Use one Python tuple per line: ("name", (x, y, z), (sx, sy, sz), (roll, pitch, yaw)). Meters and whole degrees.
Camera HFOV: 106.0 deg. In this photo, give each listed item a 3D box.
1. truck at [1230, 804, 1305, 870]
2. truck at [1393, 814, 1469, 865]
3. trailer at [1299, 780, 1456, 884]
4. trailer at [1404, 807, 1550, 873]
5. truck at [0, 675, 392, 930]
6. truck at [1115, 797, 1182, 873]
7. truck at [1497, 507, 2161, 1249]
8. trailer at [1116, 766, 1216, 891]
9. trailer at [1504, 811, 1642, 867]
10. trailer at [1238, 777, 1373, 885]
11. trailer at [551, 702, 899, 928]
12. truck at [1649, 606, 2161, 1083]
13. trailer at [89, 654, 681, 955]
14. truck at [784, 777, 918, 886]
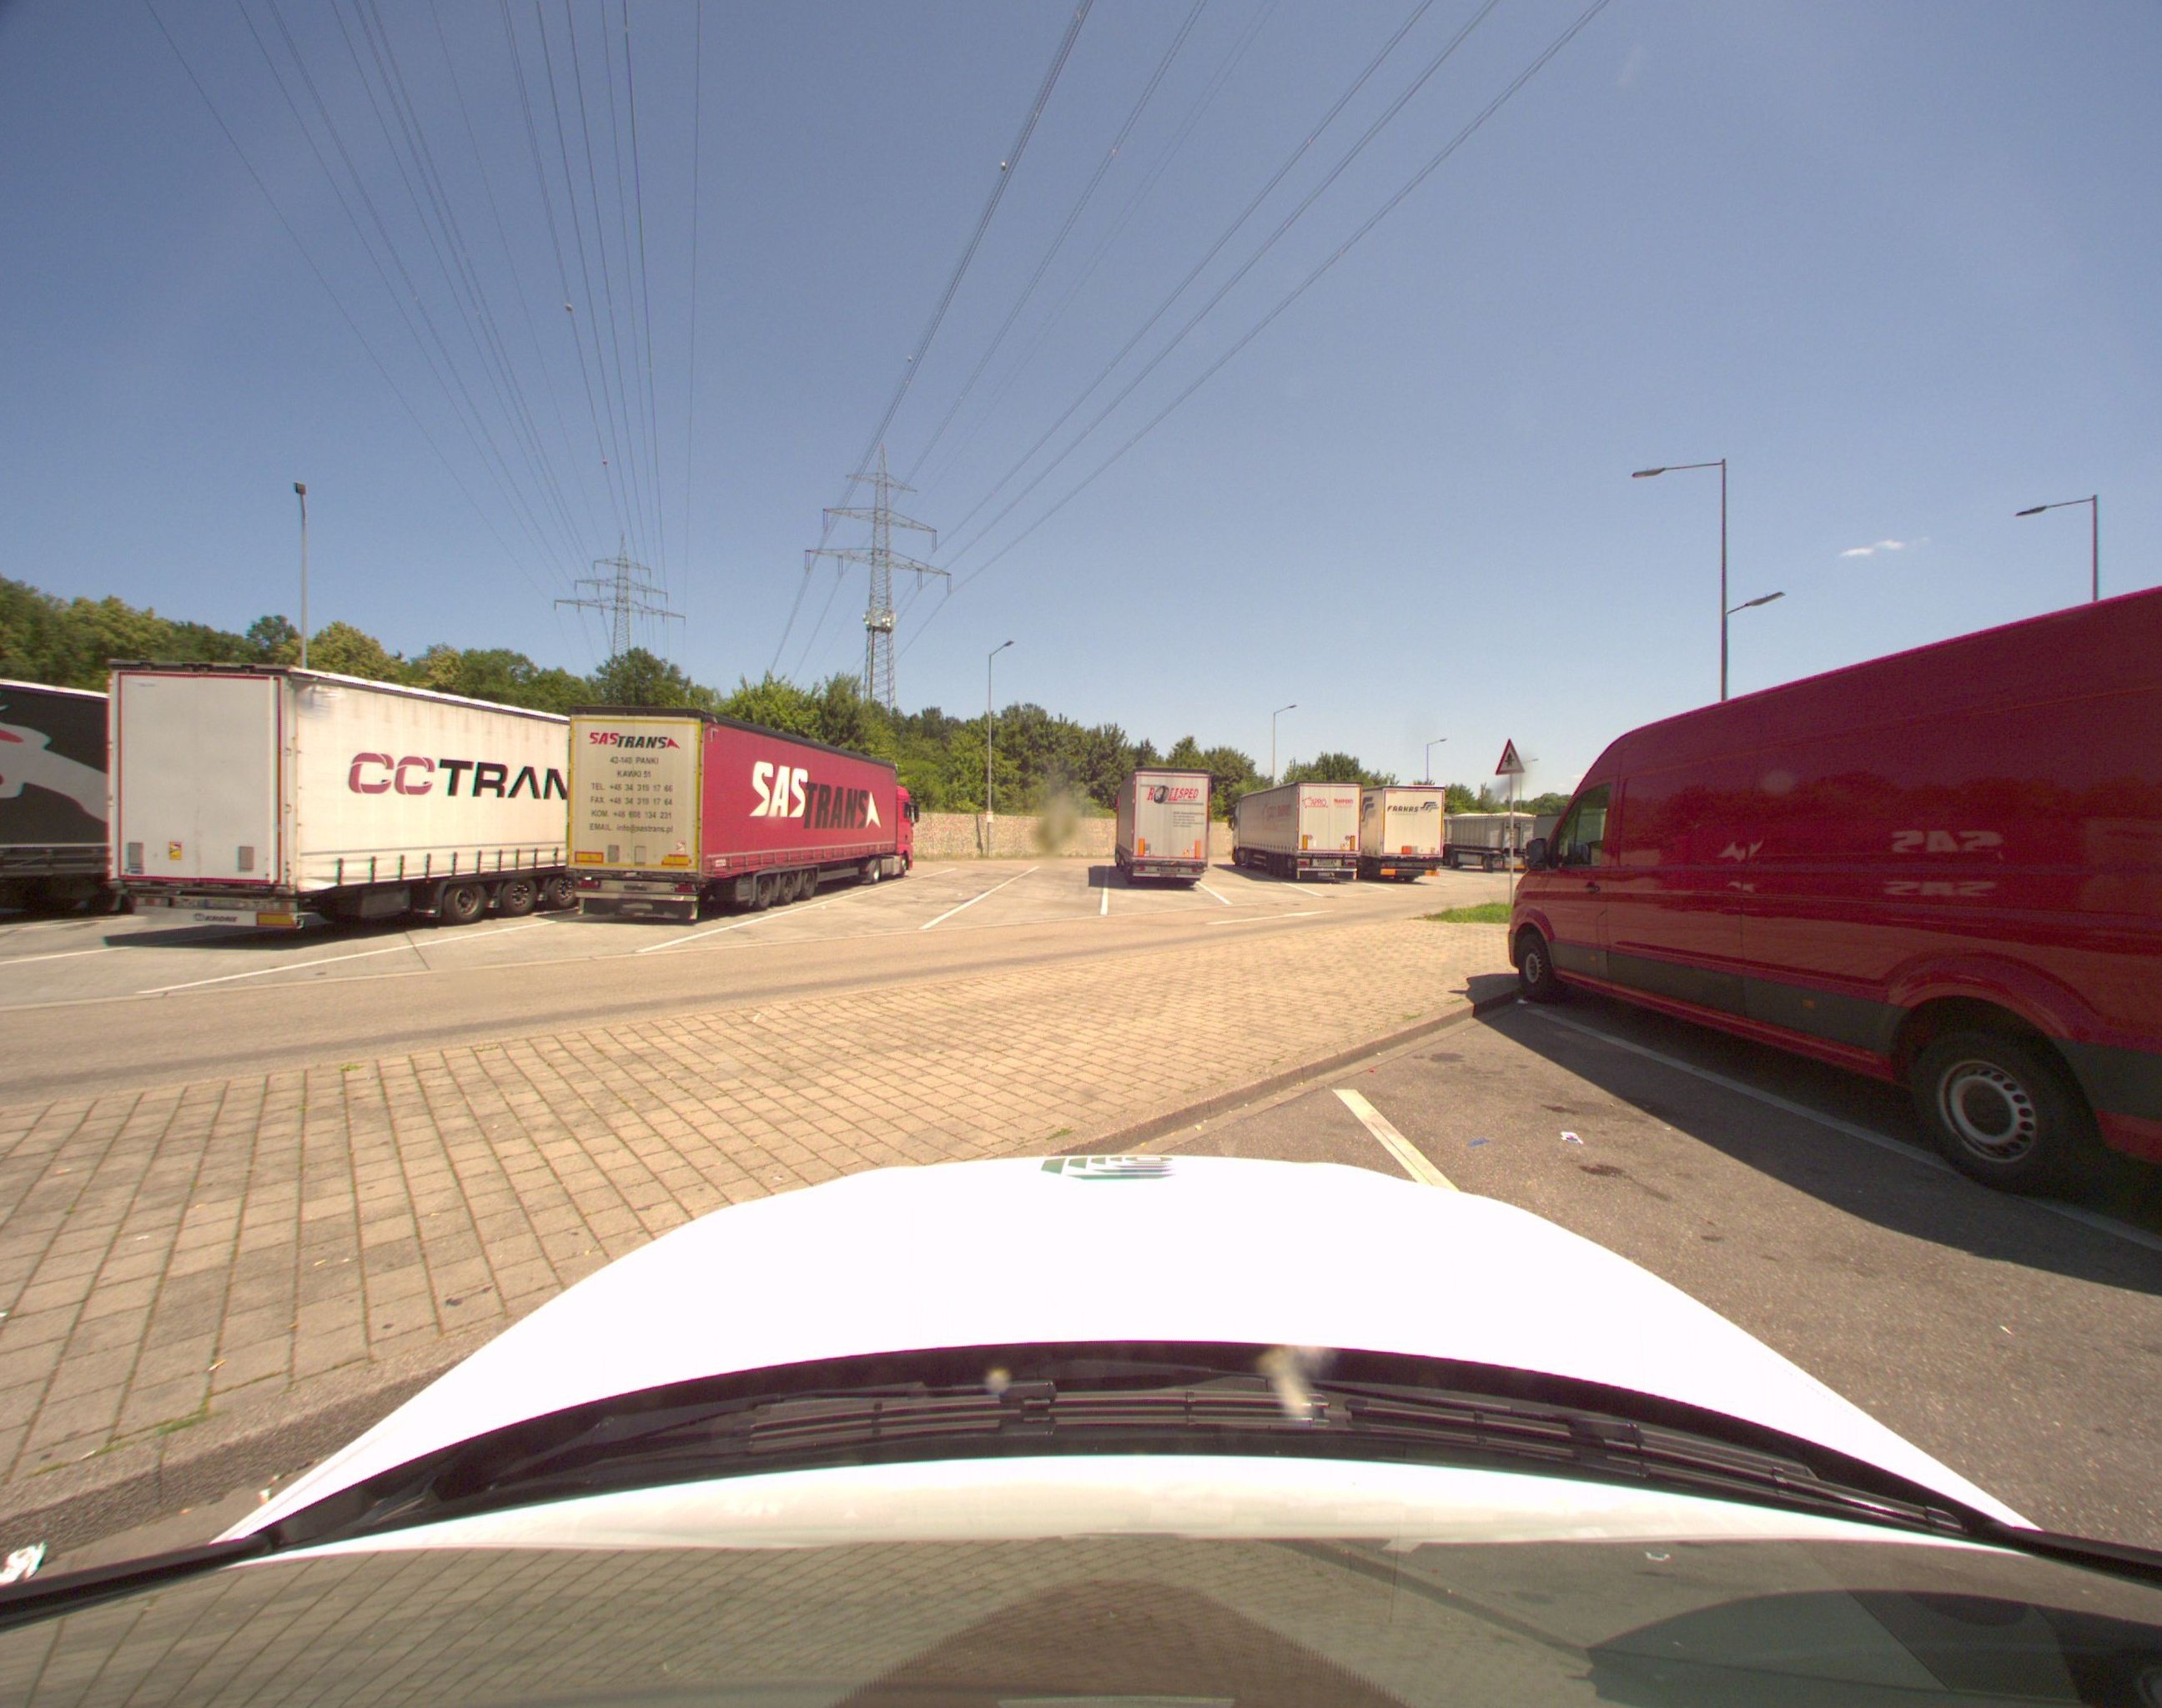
("truck", (10.176, -0.975, 45.075), (2.855, 3.362, 5.977), (1, 2, 2))
("truck", (24.623, -1.080, 57.608), (2.855, 3.362, 5.977), (1, 2, 2))
("trailer", (13.607, -1.092, 39.236), (2.847, 4.109, 13.770), (1, 2, 2))
("trailer", (24.438, -0.992, 51.511), (2.847, 3.599, 13.770), (1, 2, 2))
("truck", (-18.549, -0.937, 15.838), (2.696, 4.070, 8.694), (1, 2, 2))
("truck", (3.137, -0.937, 39.422), (2.855, 3.362, 5.977), (1, 2, 2))
("truck", (5.143, 0.082, 5.463), (2.001, 2.651, 6.466), (-1, 0, 6))
("trailer", (3.047, -1.046, 33.220), (2.848, 3.971, 13.767), (1, 2, 1))
("trailer", (38.217, -1.293, 64.194), (2.847, 3.904, 13.770), (1, 2, 2))
("trailer", (9.978, -1.118, 38.311), (2.847, 4.109, 13.770), (1, 2, 2))
("trailer", (-8.047, -0.925, 21.736), (2.811, 4.070, 13.770), (1, 2, 2))
("truck", (8.003, -0.068, 6.896), (2.406, 2.906, 6.466), (-1, 0, 6))
("trailer", (-12.161, -0.839, 16.432), (2.696, 4.101, 10.395), (1, 2, 2))
("truck", (-7.833, -0.792, 28.553), (2.801, 3.362, 5.977), (1, 2, 2))
